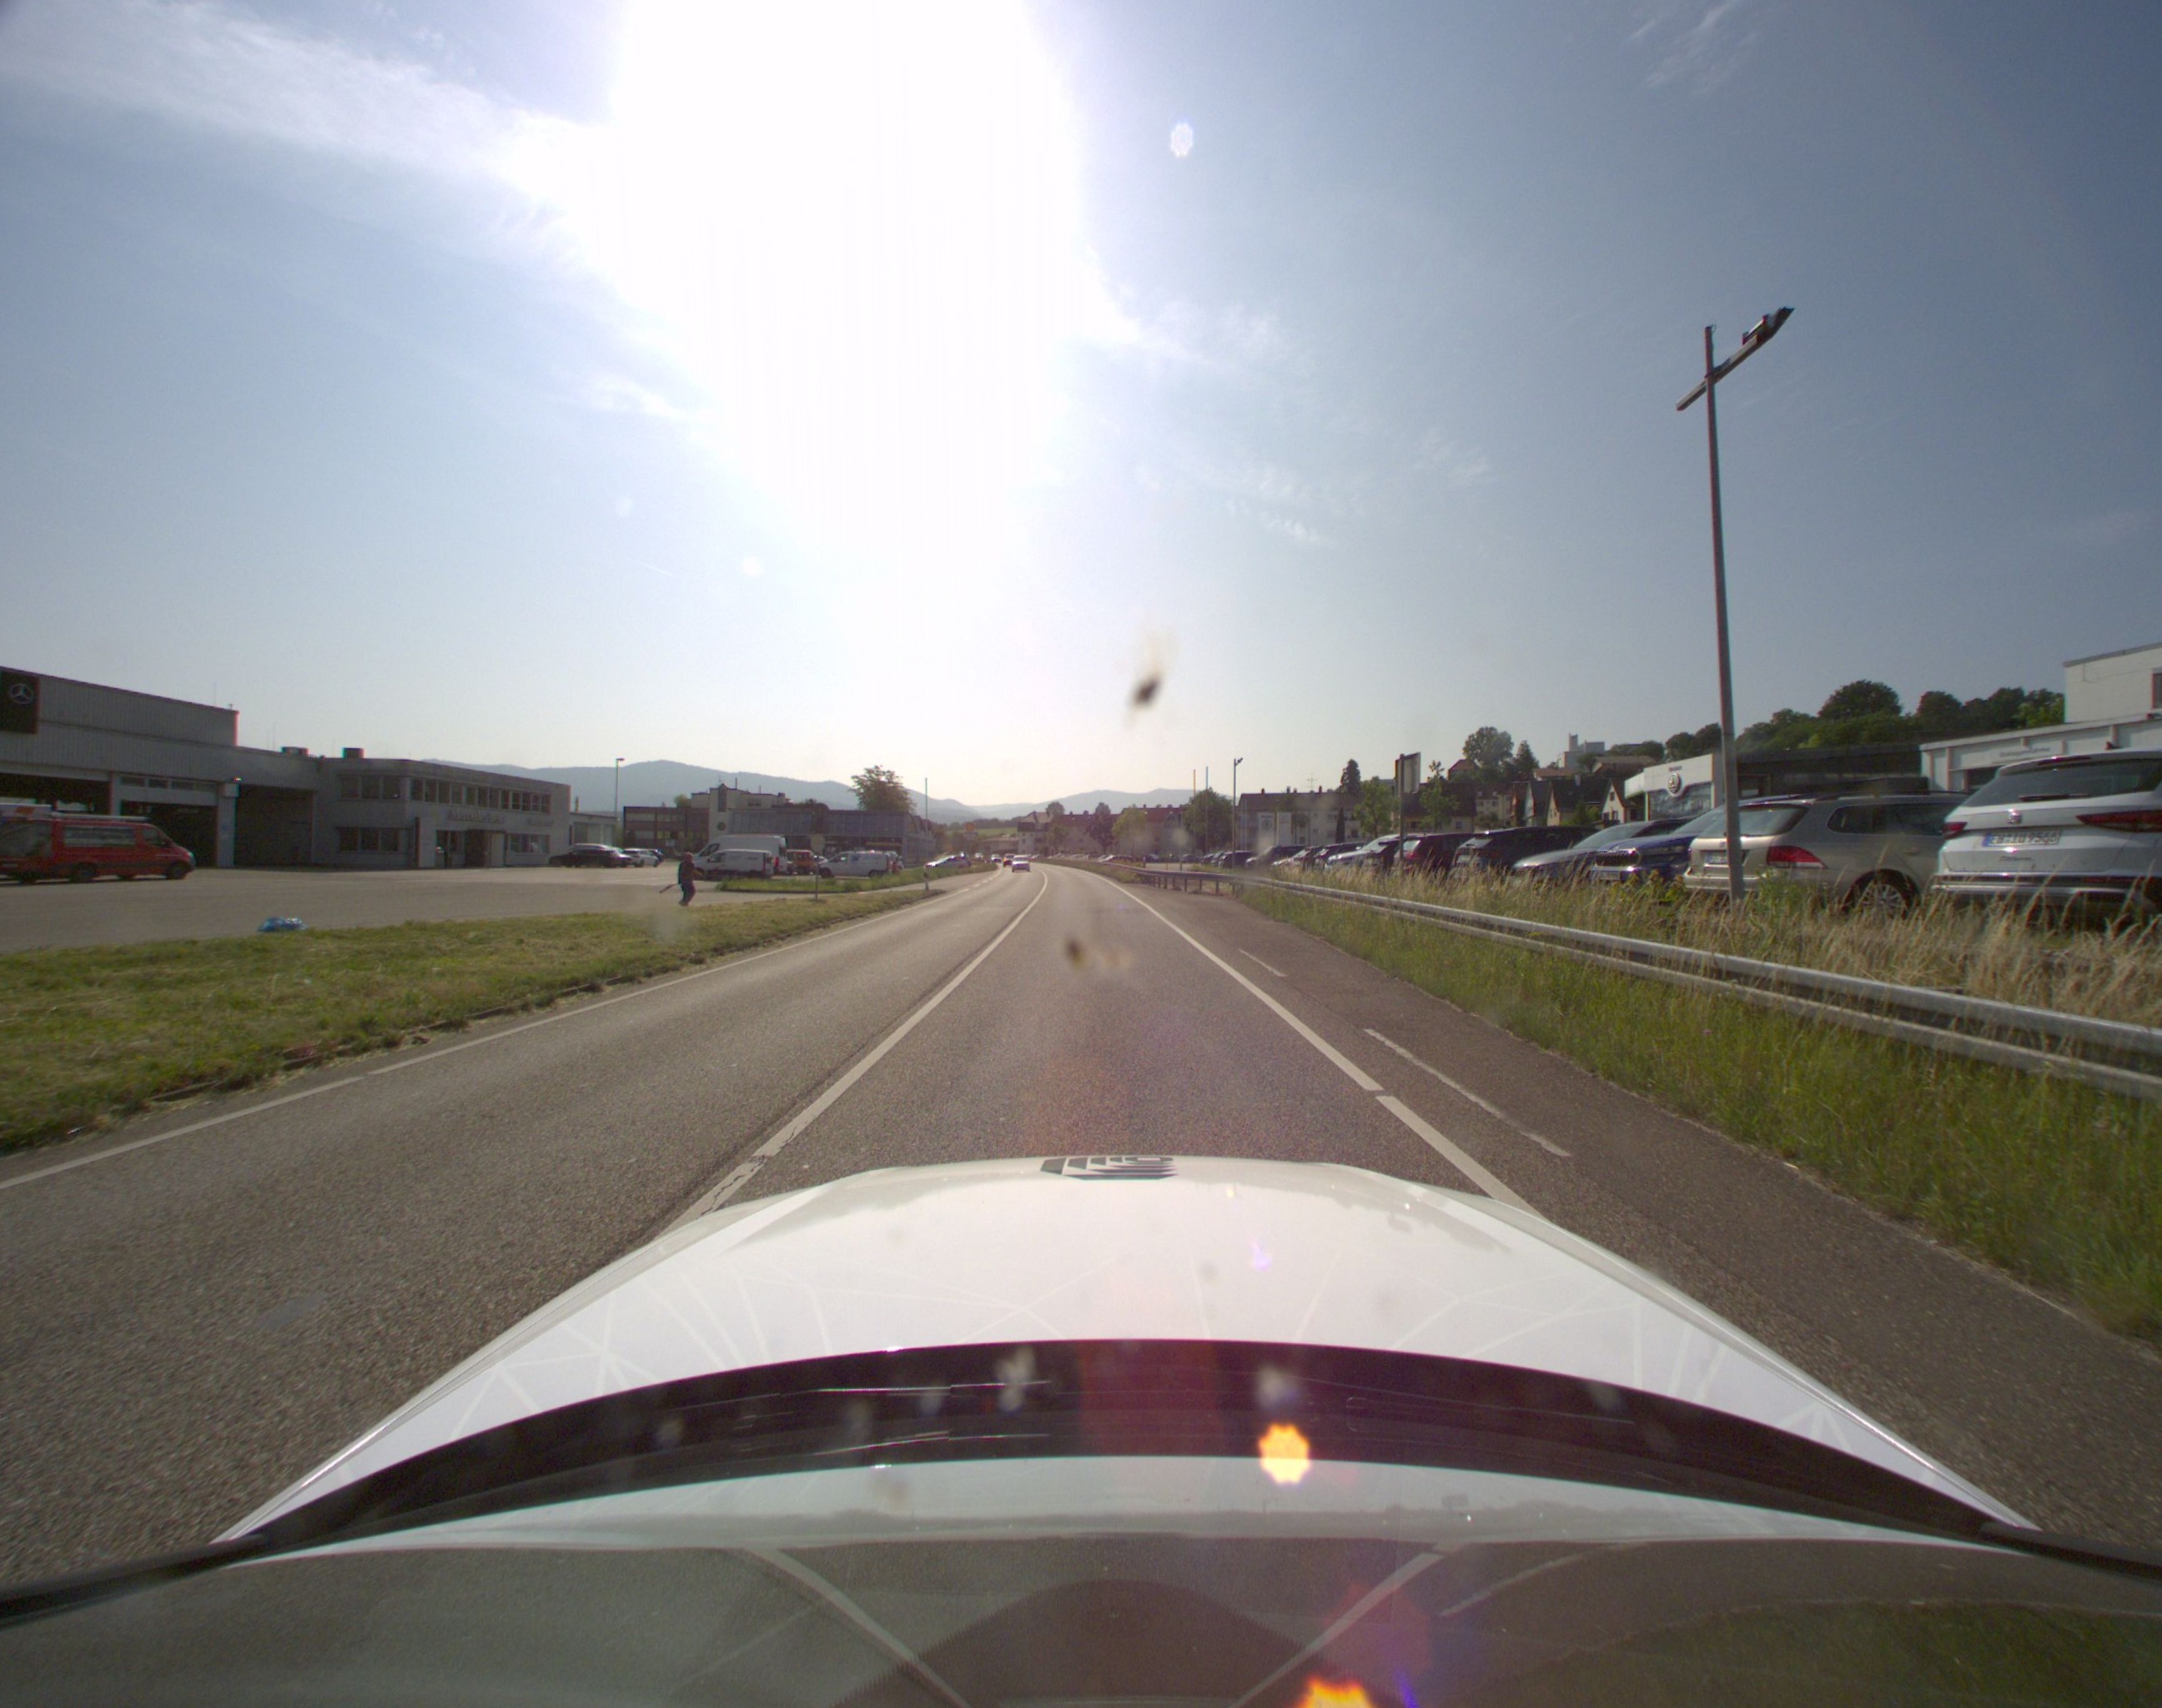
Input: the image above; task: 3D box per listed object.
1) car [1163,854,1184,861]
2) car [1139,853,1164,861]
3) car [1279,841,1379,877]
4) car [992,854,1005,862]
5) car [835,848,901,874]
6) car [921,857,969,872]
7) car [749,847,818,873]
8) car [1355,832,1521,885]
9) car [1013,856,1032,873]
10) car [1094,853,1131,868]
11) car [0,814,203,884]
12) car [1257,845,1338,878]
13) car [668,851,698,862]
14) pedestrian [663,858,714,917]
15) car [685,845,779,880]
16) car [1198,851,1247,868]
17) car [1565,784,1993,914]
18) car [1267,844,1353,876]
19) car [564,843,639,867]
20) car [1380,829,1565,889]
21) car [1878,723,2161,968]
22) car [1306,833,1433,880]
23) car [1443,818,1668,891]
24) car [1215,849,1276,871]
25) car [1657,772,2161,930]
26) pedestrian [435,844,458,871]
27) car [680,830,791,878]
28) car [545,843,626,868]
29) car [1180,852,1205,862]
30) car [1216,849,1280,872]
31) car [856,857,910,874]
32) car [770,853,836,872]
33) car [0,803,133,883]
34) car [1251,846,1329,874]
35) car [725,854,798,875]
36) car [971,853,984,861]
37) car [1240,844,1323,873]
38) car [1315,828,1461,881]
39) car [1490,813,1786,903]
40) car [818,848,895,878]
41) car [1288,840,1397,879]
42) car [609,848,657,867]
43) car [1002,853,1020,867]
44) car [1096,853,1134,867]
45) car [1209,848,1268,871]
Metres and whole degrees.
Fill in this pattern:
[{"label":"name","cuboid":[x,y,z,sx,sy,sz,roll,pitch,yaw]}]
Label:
[{"label":"car","cuboid":[15.569,0.588,136.519,1.600,1.186,3.625,0,-1,-32]},{"label":"car","cuboid":[12.259,0.573,141.560,1.921,1.405,4.479,0,-1,-32]},{"label":"car","cuboid":[11.364,0.238,37.453,4.068,1.552,1.782,-1,-1,1]},{"label":"car","cuboid":[-14.751,0.719,145.074,1.754,1.474,4.268,-2,0,-13]},{"label":"car","cuboid":[-17.280,0.548,66.194,4.784,1.981,2.225,2,0,-6]},{"label":"car","cuboid":[-13.296,0.991,79.819,4.420,1.367,1.830,-1,0,-45]},{"label":"car","cuboid":[-22.050,0.447,60.584,4.374,1.808,1.998,2,0,-6]},{"label":"car","cuboid":[10.241,0.135,23.587,3.974,1.452,1.951,-1,-1,0]},{"label":"car","cuboid":[-5.433,0.938,75.807,1.674,1.473,3.702,-2,0,-4]},{"label":"car","cuboid":[3.774,0.766,97.026,4.155,1.556,1.767,-2,0,-7]},{"label":"car","cuboid":[-36.800,-0.184,30.717,1.876,2.386,5.216,0,0,-4]},{"label":"car","cuboid":[11.387,0.391,43.070,3.860,1.663,1.842,-1,-1,4]},{"label":"car","cuboid":[-62.720,0.402,128.363,3.968,1.604,1.732,-1,-2,4]},{"label":"pedestrian","cuboid":[-11.508,0.963,23.890,1.150,1.689,0.840,0,-1,-43]},{"label":"car","cuboid":[-19.971,0.474,46.762,4.438,1.840,1.983,2,0,-6]},{"label":"car","cuboid":[13.208,0.488,76.014,4.153,1.516,1.820,-1,0,-8]},{"label":"car","cuboid":[9.622,-0.055,11.544,4.339,1.640,1.952,-1,-1,2]},{"label":"car","cuboid":[11.115,0.311,39.669,3.718,1.459,1.665,-1,-1,1]},{"label":"car","cuboid":[-38.257,0.086,65.068,4.805,1.854,1.951,0,1,-4]},{"label":"car","cuboid":[9.636,0.127,20.249,3.718,1.406,1.823,-1,-1,0]},{"label":"car","cuboid":[9.085,-0.099,6.216,4.028,1.617,1.882,-1,-1,3]},{"label":"car","cuboid":[10.484,0.100,29.806,3.971,1.632,1.922,-1,-1,2]},{"label":"car","cuboid":[9.849,0.012,17.116,3.721,1.428,1.779,-1,-1,0]},{"label":"car","cuboid":[11.774,0.435,58.462,3.977,1.494,1.789,-1,-1,-3]},{"label":"car","cuboid":[9.142,-0.018,9.142,4.022,1.507,1.808,-1,-1,3]},{"label":"pedestrian","cuboid":[-40.359,0.226,51.799,0.819,1.689,0.848,0,-1,-7]},{"label":"car","cuboid":[-21.102,0.000,49.923,5.709,2.745,2.282,2,-1,-4]},{"label":"car","cuboid":[-38.109,0.122,62.773,4.805,1.854,2.209,0,1,-4]},{"label":"car","cuboid":[17.277,0.482,126.171,3.781,1.521,1.639,0,0,-34]},{"label":"car","cuboid":[11.386,0.419,55.698,3.974,1.494,1.730,-1,-1,-1]},{"label":"car","cuboid":[-17.324,1.018,71.384,4.255,1.403,1.874,1,-1,-45]},{"label":"car","cuboid":[-21.476,0.657,63.070,4.458,1.398,1.963,1,0,-6]},{"label":"car","cuboid":[-39.959,-0.408,30.122,2.390,2.856,6.520,0,0,-4]},{"label":"car","cuboid":[11.707,0.325,45.803,4.017,1.486,1.725,-1,-1,4]},{"label":"car","cuboid":[-22.429,0.732,57.328,4.374,1.319,1.796,1,0,-6]},{"label":"car","cuboid":[-23.073,0.666,182.121,1.799,1.630,4.195,-2,0,-22]},{"label":"car","cuboid":[11.923,0.250,48.499,4.437,1.600,1.852,-1,-1,-4]},{"label":"car","cuboid":[9.804,0.019,26.240,3.975,1.632,1.920,-1,-1,-1]},{"label":"car","cuboid":[9.772,0.069,14.551,3.974,1.452,1.951,-1,-1,0]},{"label":"car","cuboid":[-15.244,0.608,55.447,4.664,1.857,2.140,1,0,-6]},{"label":"car","cuboid":[10.296,0.207,32.265,3.823,1.458,1.746,-1,-1,2]},{"label":"car","cuboid":[-37.531,0.321,68.406,1.802,1.492,4.560,0,-1,-5]},{"label":"car","cuboid":[-8.949,0.744,104.339,1.805,1.630,4.540,-2,0,0]},{"label":"car","cuboid":[3.869,0.697,94.168,4.155,1.490,1.728,-2,0,-7]},{"label":"car","cuboid":[11.754,0.407,60.905,4.070,1.610,1.789,-1,-1,-6]}]
